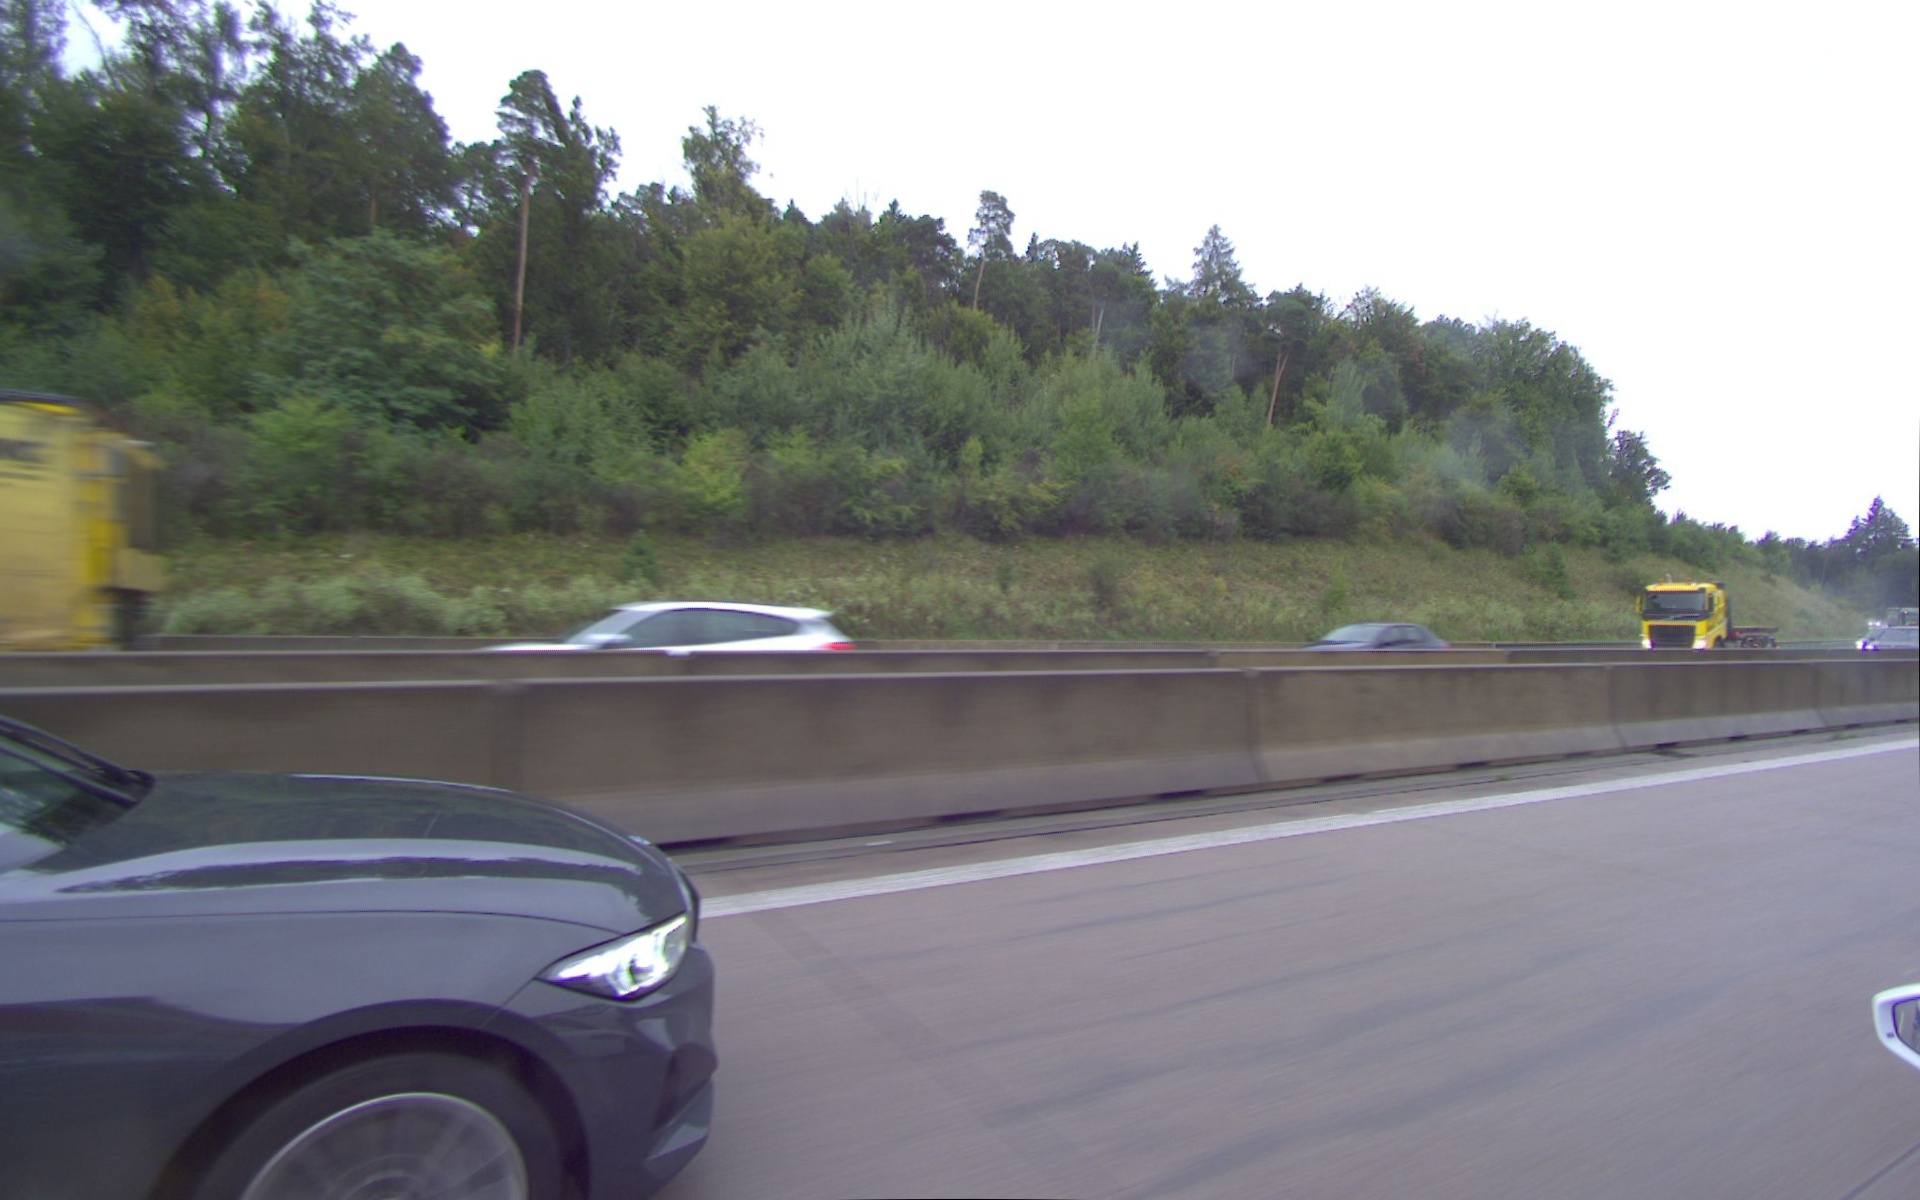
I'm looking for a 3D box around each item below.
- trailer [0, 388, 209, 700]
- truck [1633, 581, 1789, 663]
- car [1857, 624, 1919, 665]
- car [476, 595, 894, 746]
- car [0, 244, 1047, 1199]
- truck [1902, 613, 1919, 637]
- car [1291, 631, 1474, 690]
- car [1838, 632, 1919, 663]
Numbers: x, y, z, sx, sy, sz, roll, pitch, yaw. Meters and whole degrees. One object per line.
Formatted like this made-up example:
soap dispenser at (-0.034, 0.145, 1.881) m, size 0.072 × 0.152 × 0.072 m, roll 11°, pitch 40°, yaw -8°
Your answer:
trailer at (-17.300, -0.833, 11.507) m, size 13.532 × 3.926 × 3.001 m, roll 2°, pitch 0°, yaw -29°
truck at (33.426, 1.013, 44.553) m, size 9.284 × 3.340 × 2.606 m, roll 2°, pitch -1°, yaw -34°
car at (34.705, 1.625, 36.882) m, size 4.042 × 1.364 × 1.644 m, roll 2°, pitch 0°, yaw -33°
car at (-3.154, 0.747, 11.872) m, size 4.493 × 1.498 × 1.645 m, roll 2°, pitch 0°, yaw -31°
car at (-2.902, 0.422, 1.737) m, size 6.090 × 1.971 × 1.898 m, roll 2°, pitch 0°, yaw -30°
truck at (162.982, 4.204, 171.337) m, size 8.060 × 4.013 × 2.899 m, roll 1°, pitch -1°, yaw -43°
car at (9.932, 1.377, 23.500) m, size 4.493 × 1.214 × 1.645 m, roll 2°, pitch 0°, yaw -31°
car at (43.228, 2.217, 47.178) m, size 4.715 × 1.364 × 1.794 m, roll 2°, pitch 0°, yaw -33°
